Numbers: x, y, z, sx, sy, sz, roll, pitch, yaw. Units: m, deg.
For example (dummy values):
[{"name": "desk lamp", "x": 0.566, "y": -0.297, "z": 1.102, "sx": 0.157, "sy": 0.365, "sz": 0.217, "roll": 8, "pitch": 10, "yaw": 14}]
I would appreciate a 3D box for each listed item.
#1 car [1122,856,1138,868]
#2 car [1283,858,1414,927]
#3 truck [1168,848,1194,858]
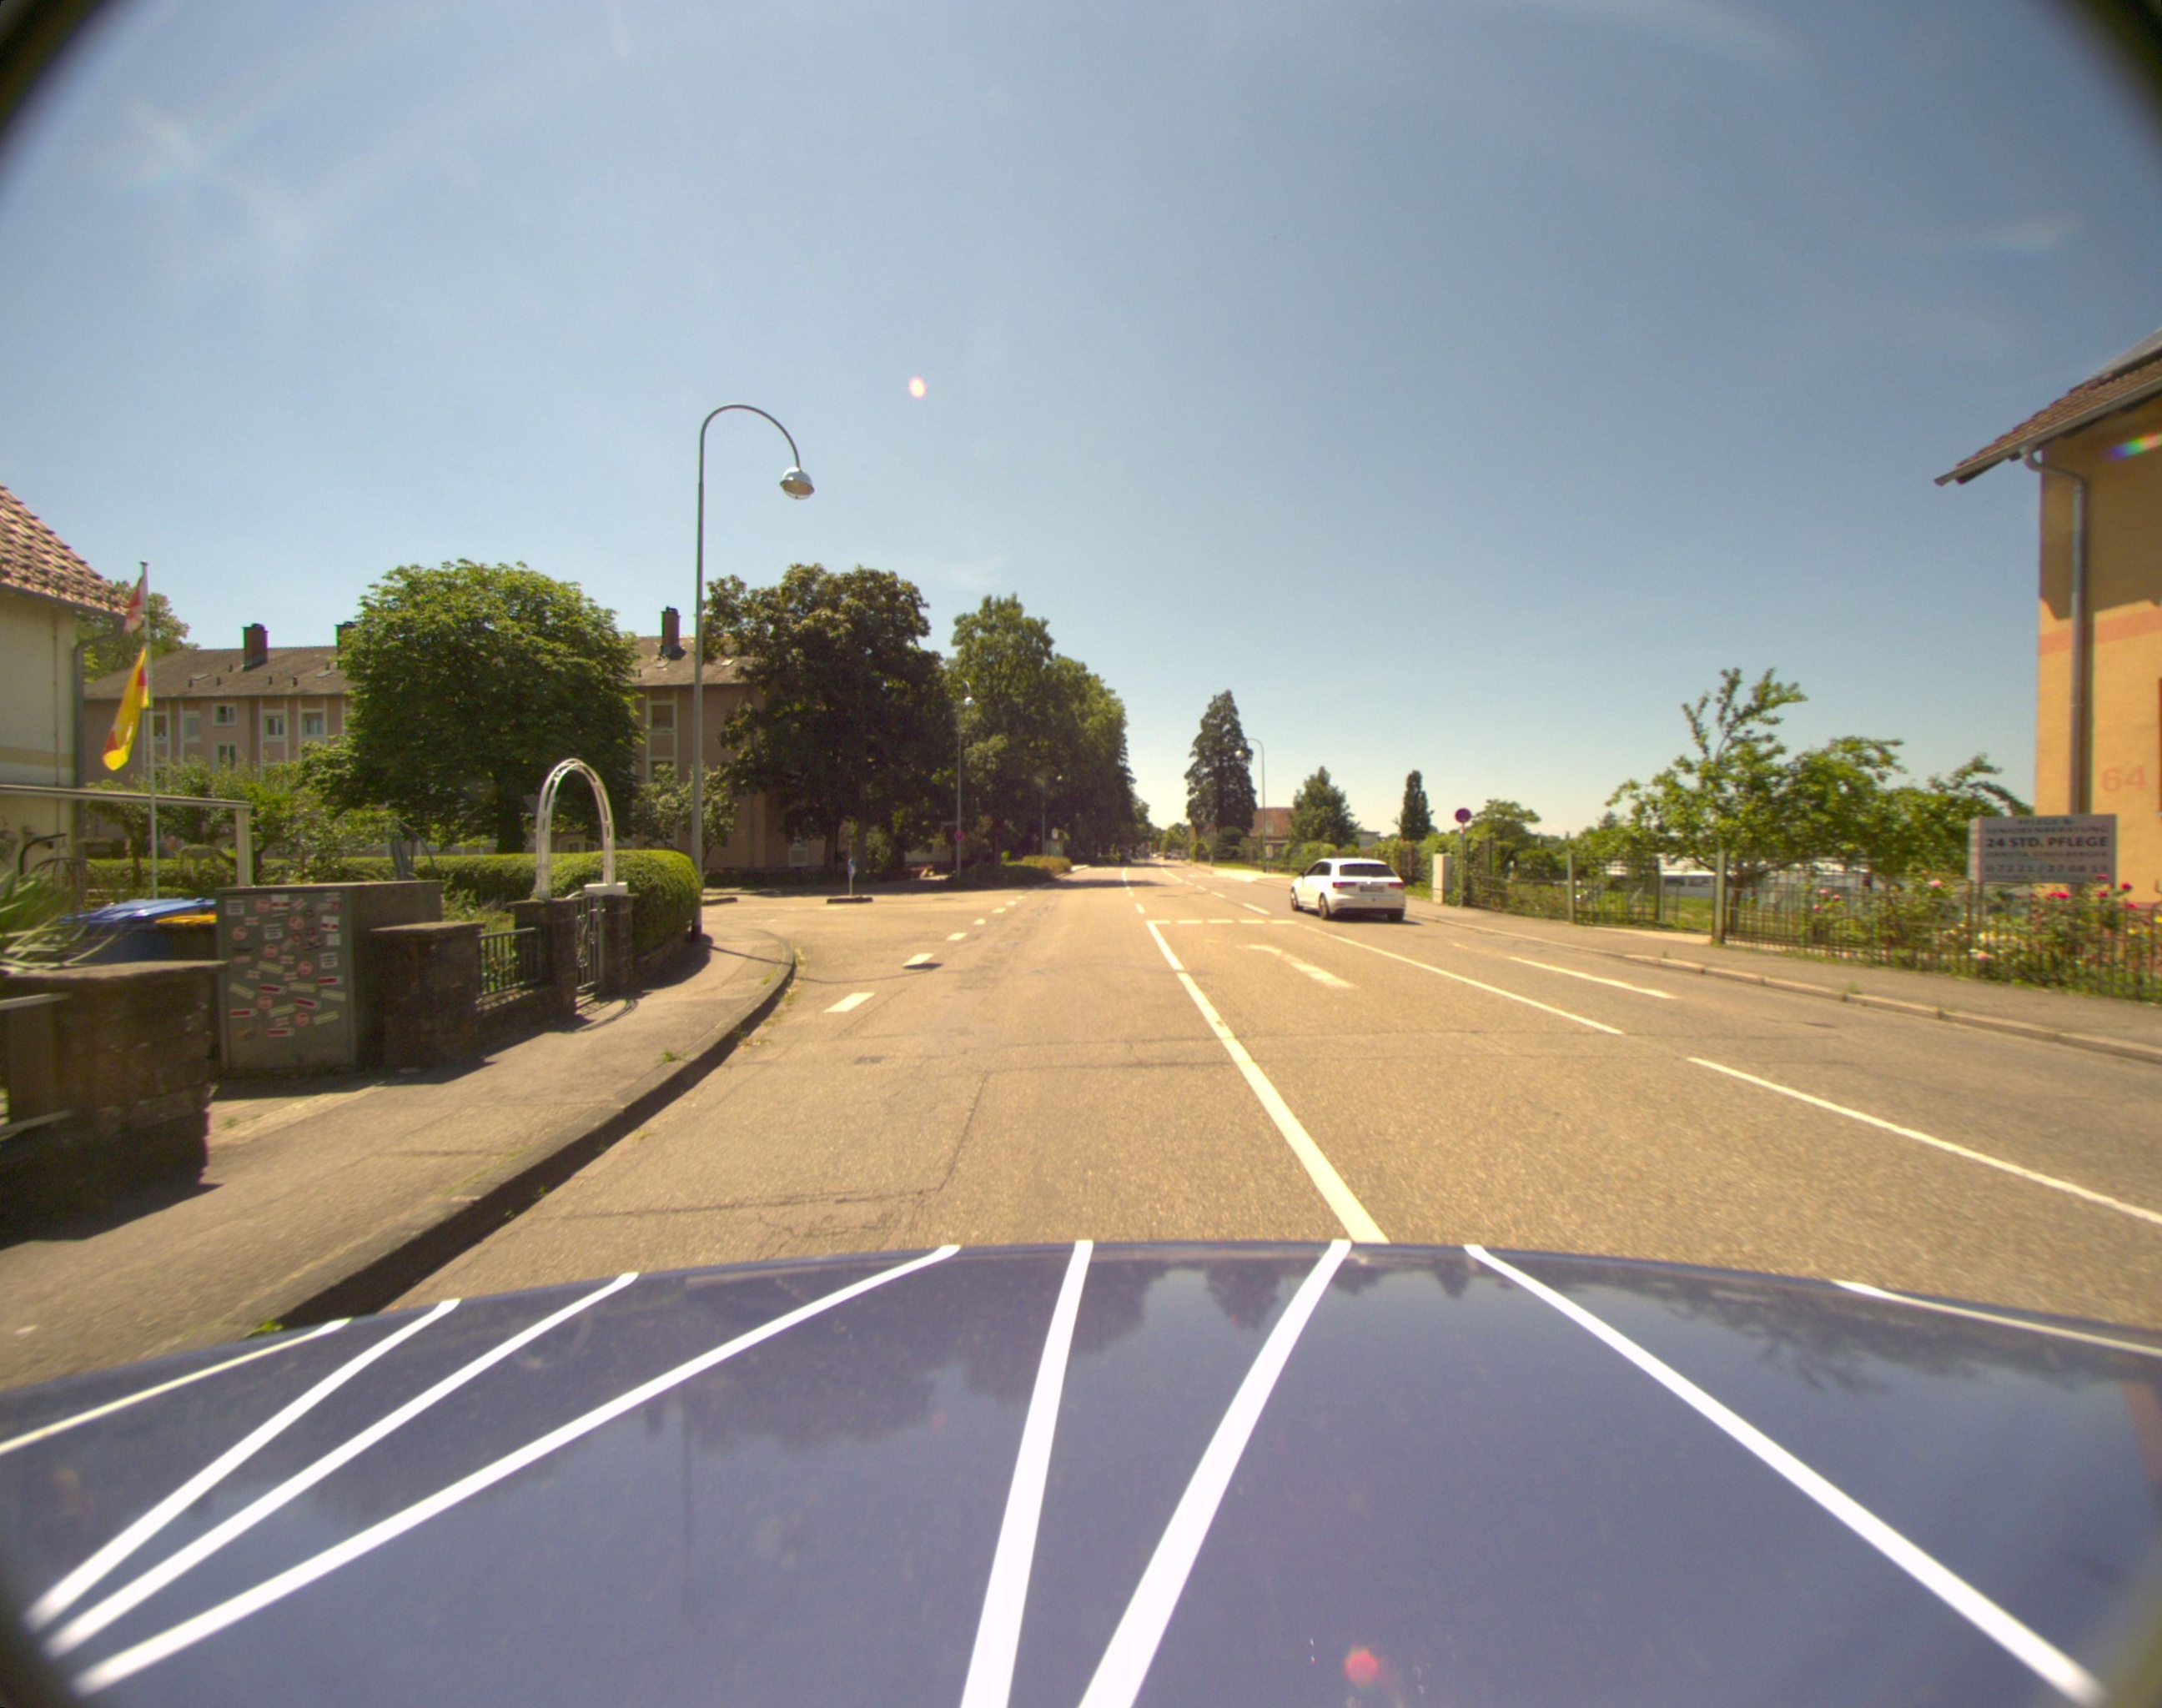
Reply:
[{"name": "car", "x": 7.184, "y": 1.097, "z": 111.047, "sx": 1.882, "sy": 1.623, "sz": 4.323, "roll": 1, "pitch": 1, "yaw": 8}, {"name": "car", "x": 6.233, "y": 0.836, "z": 18.230, "sx": 1.684, "sy": 1.364, "sz": 4.206, "roll": 1, "pitch": 1, "yaw": 1}, {"name": "truck", "x": 21.688, "y": -0.250, "z": 164.354, "sx": 2.628, "sy": 2.228, "sz": 6.244, "roll": -1, "pitch": 1, "yaw": -25}]
